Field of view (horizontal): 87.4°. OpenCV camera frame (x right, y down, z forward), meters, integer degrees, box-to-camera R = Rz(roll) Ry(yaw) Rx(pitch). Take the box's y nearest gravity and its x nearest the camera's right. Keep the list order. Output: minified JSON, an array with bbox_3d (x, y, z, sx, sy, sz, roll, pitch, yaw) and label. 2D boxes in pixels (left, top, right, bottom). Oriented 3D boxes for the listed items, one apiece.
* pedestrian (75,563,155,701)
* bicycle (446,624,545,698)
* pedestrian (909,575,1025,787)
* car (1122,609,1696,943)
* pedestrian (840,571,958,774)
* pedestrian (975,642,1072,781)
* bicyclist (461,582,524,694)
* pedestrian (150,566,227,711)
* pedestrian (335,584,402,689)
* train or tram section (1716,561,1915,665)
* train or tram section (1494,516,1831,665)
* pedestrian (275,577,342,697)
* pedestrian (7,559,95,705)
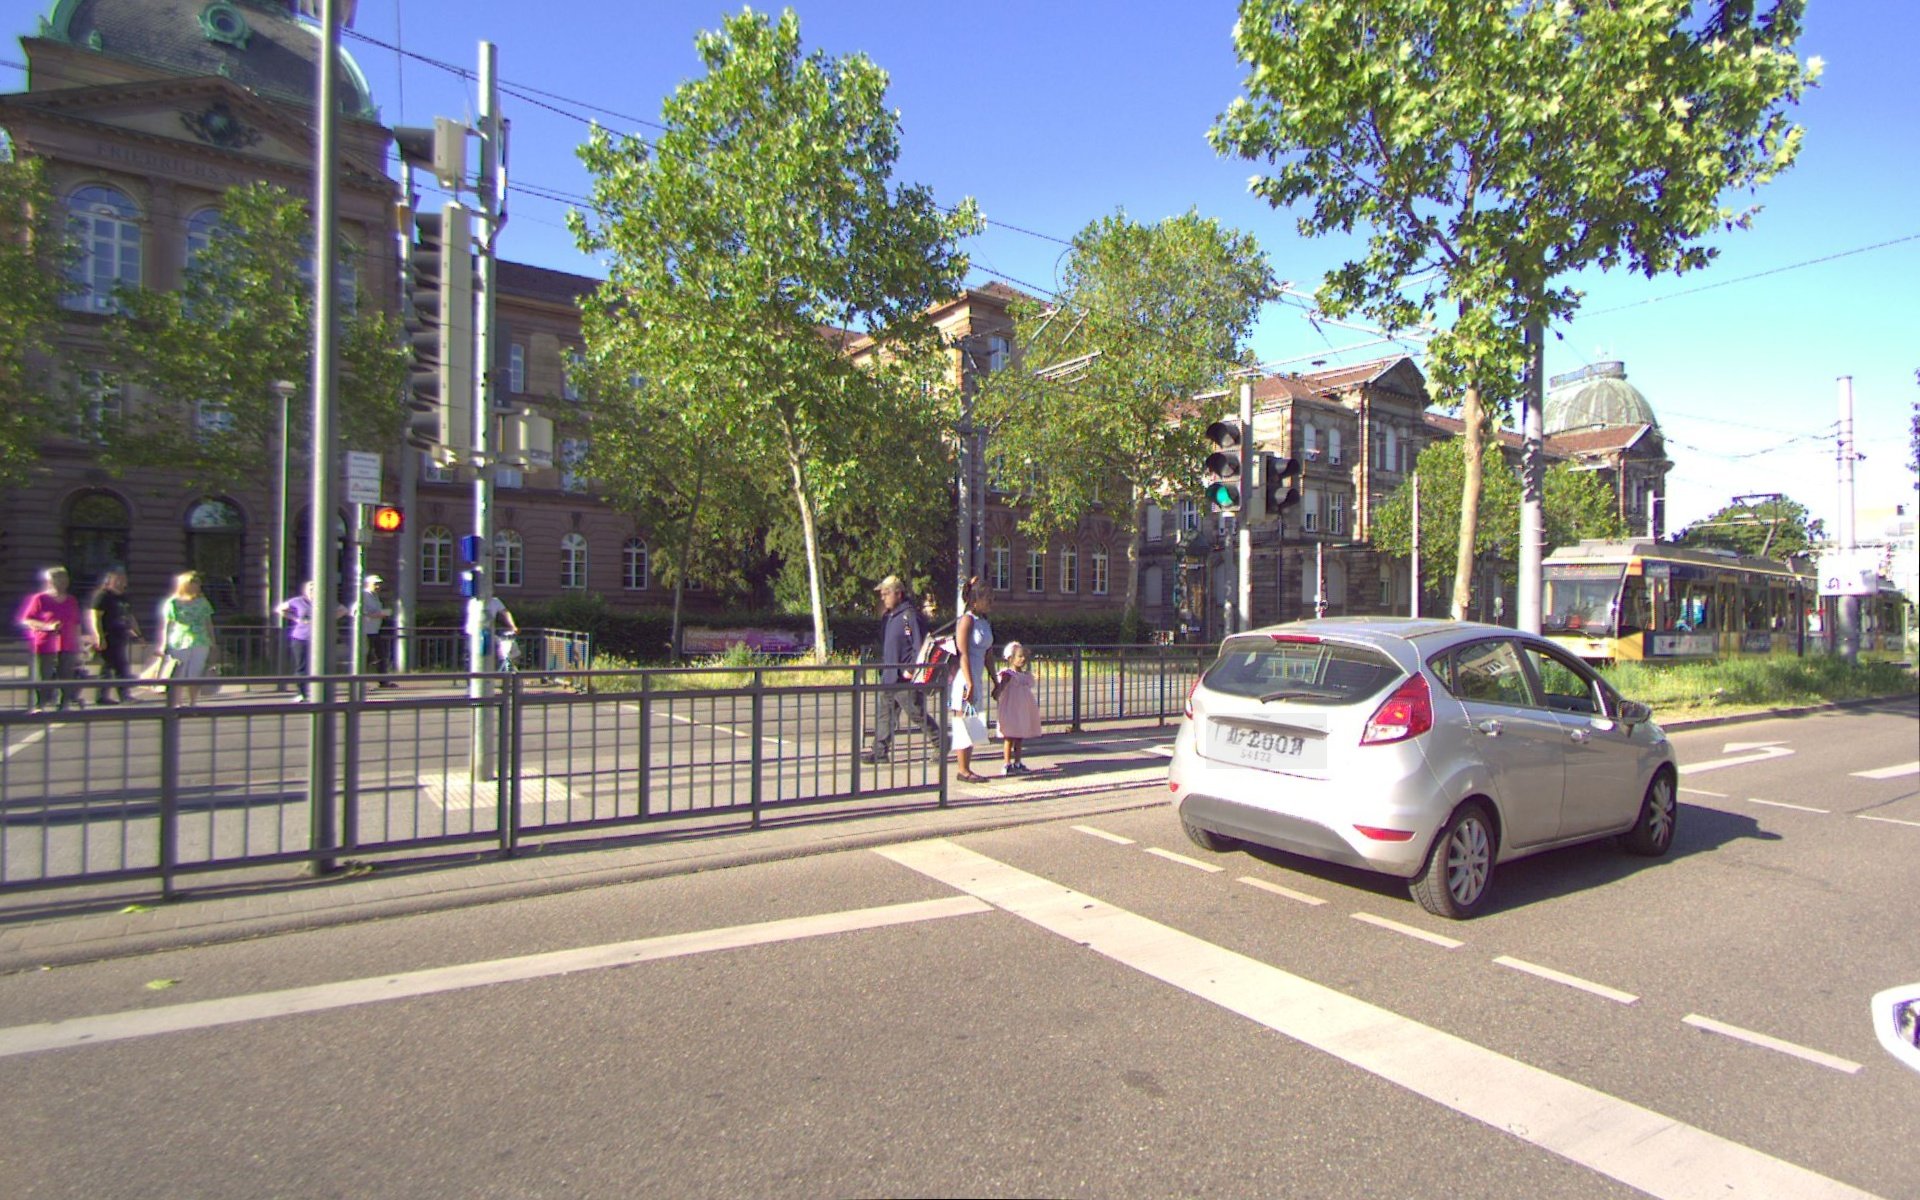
[{"bbox_3d":[-11.258,0.421,13.402,0.624,1.766,0.705,1,-1,-26],"label":"pedestrian"},{"bbox_3d":[-7.084,0.895,15.299,1.648,0.999,0.831,2,0,45],"label":"bicycle"},{"bbox_3d":[0.053,0.611,7.916,0.641,1.577,0.626,1,-1,-39],"label":"pedestrian"},{"bbox_3d":[2.874,0.836,6.178,3.598,1.428,1.649,2,0,-36],"label":"car"},{"bbox_3d":[-0.510,0.600,8.609,0.925,1.651,0.628,2,0,-2],"label":"pedestrian"},{"bbox_3d":[0.532,0.912,8.477,0.525,1.088,0.626,1,-1,-39],"label":"pedestrian"},{"bbox_3d":[-7.112,0.566,15.281,0.653,1.648,0.655,2,0,44],"label":"bicyclist"},{"bbox_3d":[-9.377,0.460,12.215,0.699,1.701,0.613,1,-1,-39],"label":"pedestrian"},{"bbox_3d":[-9.192,0.556,15.642,0.768,1.582,0.706,1,-1,-22],"label":"pedestrian"},{"bbox_3d":[31.884,0.619,37.110,12.995,3.303,2.892,3,0,-38],"label":"train or tram section"},{"bbox_3d":[20.462,0.044,28.404,15.745,3.303,2.893,3,0,-37],"label":"train or tram section"},{"bbox_3d":[-9.044,0.503,13.949,0.699,1.603,0.613,1,-1,-39],"label":"pedestrian"},{"bbox_3d":[-10.769,0.373,11.921,0.704,1.672,0.626,1,-1,-39],"label":"pedestrian"}]
